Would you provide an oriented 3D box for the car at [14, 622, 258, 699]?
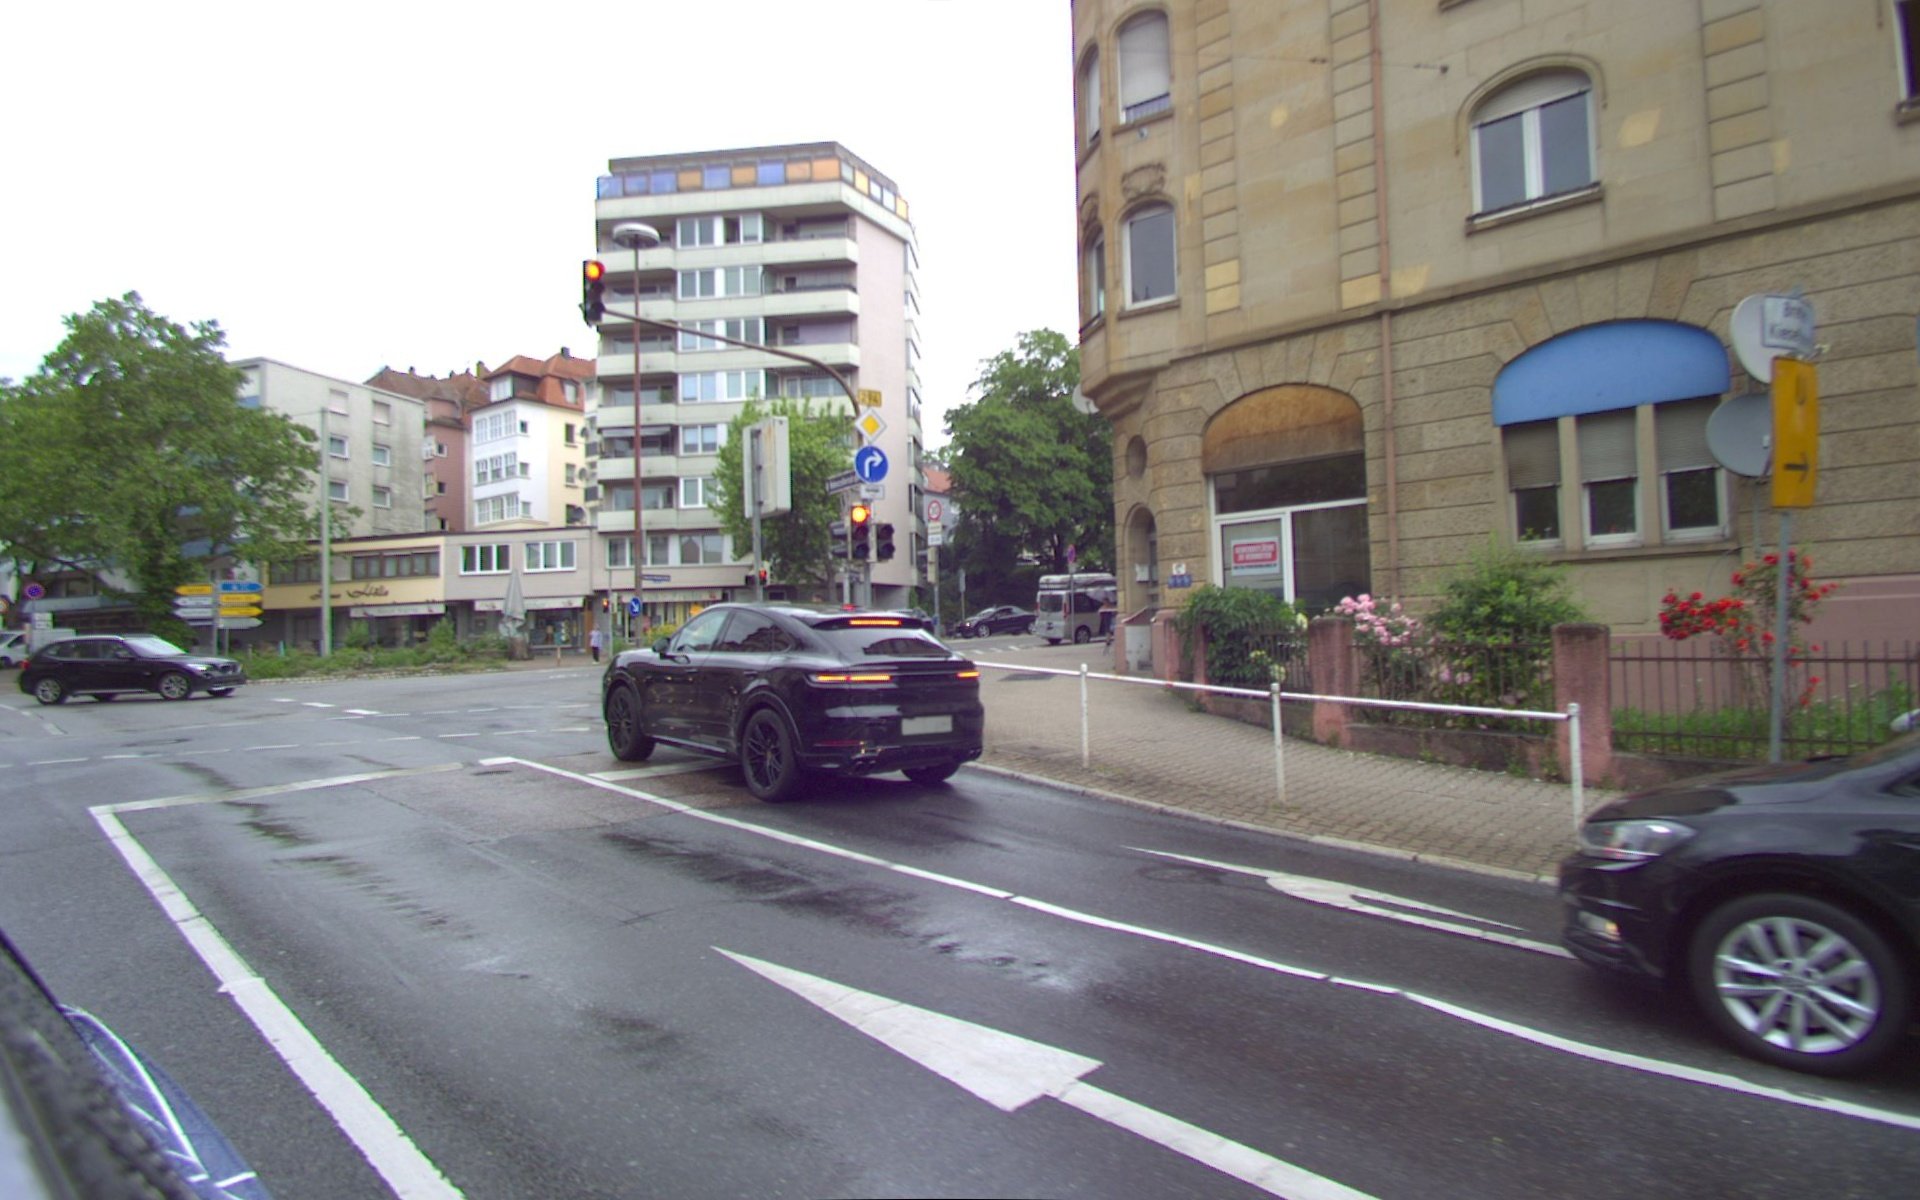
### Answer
[{"bbox_3d":[-18.930,1.356,23.379,4.154,1.546,1.758,-2,-1,-2],"label":"car"}]

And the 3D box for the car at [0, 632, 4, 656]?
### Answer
[{"bbox_3d":[-57.990,2.635,58.427,1.673,1.416,3.824,-1,-1,10],"label":"car"}]

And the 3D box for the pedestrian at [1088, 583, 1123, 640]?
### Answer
[{"bbox_3d":[4.333,0.338,30.124,0.781,1.674,0.663,-2,0,34],"label":"pedestrian"}]

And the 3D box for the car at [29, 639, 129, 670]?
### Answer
[{"bbox_3d":[-45.636,2.805,52.502,1.790,1.426,3.699,-1,0,6],"label":"car"}]

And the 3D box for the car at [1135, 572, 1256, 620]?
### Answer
[{"bbox_3d":[9.047,-0.169,38.851,4.307,1.717,2.006,-2,0,-31],"label":"car"}]

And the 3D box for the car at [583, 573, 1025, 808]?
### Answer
[{"bbox_3d":[-1.762,0.664,9.799,1.941,1.706,4.814,0,0,-42],"label":"car"}]

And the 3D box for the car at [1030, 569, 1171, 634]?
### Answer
[{"bbox_3d":[5.066,0.029,36.316,4.722,2.185,2.006,-2,0,-31],"label":"car"}]

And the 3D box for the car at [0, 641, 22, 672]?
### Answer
[{"bbox_3d":[-55.193,3.209,56.484,1.788,1.702,3.821,0,-1,12],"label":"car"}]

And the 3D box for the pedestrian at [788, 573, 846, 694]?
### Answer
[{"bbox_3d":[-2.187,0.505,15.448,0.516,1.787,0.694,-2,0,-44],"label":"pedestrian"}]

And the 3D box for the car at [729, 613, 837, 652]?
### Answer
[{"bbox_3d":[-7.865,1.419,45.054,4.317,1.503,1.920,-2,0,-28],"label":"car"}]

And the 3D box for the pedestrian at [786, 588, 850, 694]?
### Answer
[{"bbox_3d":[-2.376,0.679,16.927,0.829,1.715,0.630,-2,0,42],"label":"pedestrian"}]

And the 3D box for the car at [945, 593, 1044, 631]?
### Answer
[{"bbox_3d":[1.536,0.536,44.796,3.954,1.503,1.772,-2,-2,-28],"label":"car"}]

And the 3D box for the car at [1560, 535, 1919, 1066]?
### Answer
[{"bbox_3d":[4.447,0.640,2.920,4.421,1.662,1.602,-2,-4,44],"label":"car"}]

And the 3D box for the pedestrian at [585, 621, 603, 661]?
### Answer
[{"bbox_3d":[-15.779,1.764,43.612,0.610,1.706,0.626,-1,-1,-7],"label":"pedestrian"}]

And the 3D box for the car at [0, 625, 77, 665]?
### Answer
[{"bbox_3d":[-50.693,2.400,54.234,1.860,1.992,4.959,-1,0,11],"label":"car"}]
